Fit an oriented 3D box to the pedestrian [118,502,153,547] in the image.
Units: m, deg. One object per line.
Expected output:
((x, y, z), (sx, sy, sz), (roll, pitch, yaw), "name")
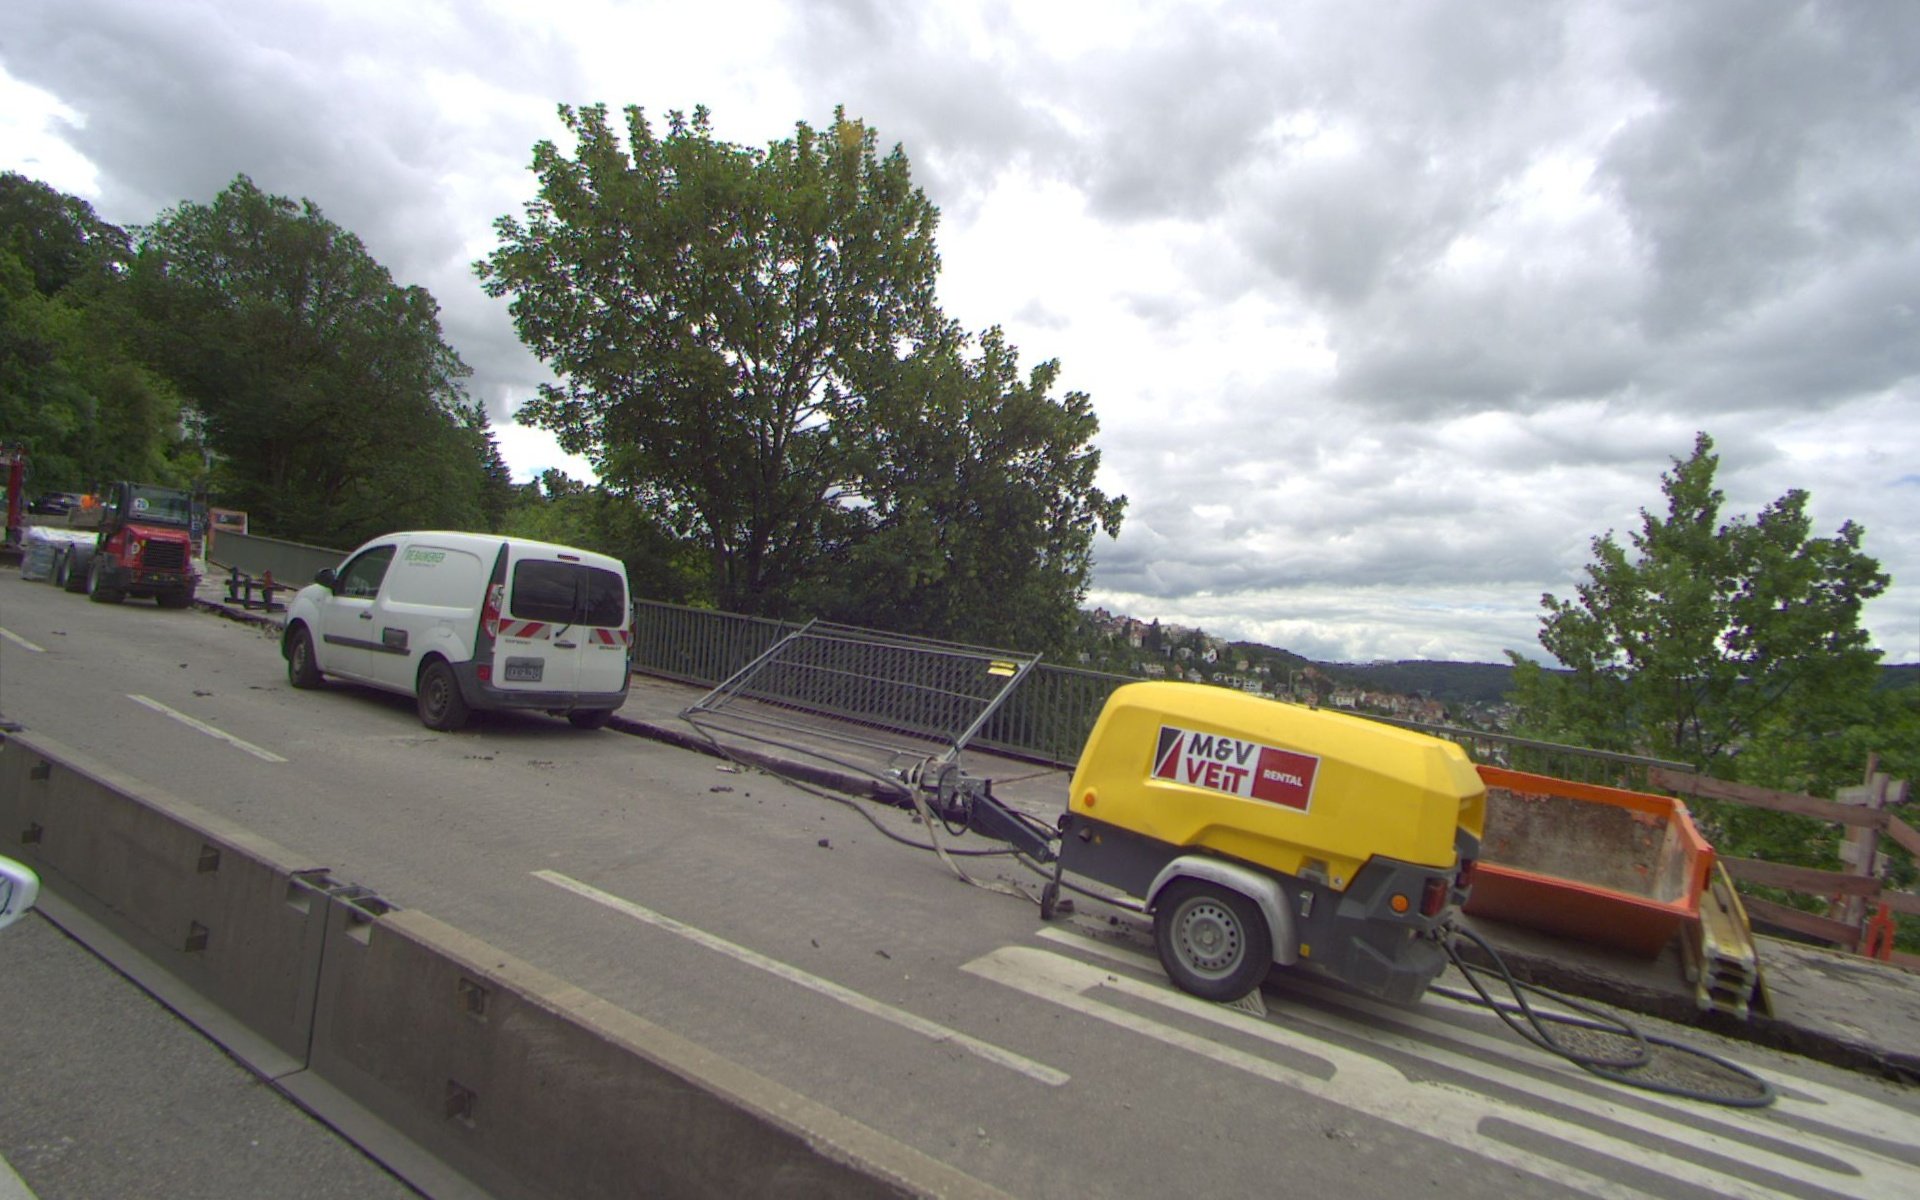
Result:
((-34.159, -3.110, 41.690), (0.774, 1.708, 0.781), (7, 0, -22), "pedestrian")

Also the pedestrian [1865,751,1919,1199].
((2.788, 1.076, 2.301), (0.836, 1.721, 0.647), (7, -1, 30), "pedestrian")

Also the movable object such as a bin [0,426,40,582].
((-19.145, -1.976, 19.106), (2.206, 2.694, 4.885), (8, -1, -43), "movable object such as a bin")

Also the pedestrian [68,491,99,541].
((-35.715, -3.430, 41.007), (0.814, 1.930, 0.689), (7, 0, 40), "pedestrian")

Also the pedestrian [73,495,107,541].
((-36.273, -3.411, 41.947), (0.871, 1.752, 0.869), (7, 0, -38), "pedestrian")

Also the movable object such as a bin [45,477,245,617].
((-14.356, -0.965, 17.647), (4.102, 1.966, 1.701), (7, -1, 38), "movable object such as a bin")

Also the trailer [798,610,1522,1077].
((0.910, 1.039, 5.556), (3.578, 1.492, 1.289), (7, -1, 36), "trailer")

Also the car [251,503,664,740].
((-5.247, 0.155, 10.330), (4.200, 1.801, 1.834), (7, -1, 34), "car")

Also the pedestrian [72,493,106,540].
((-36.983, -3.530, 42.711), (0.871, 1.844, 0.869), (7, 0, -38), "pedestrian")
